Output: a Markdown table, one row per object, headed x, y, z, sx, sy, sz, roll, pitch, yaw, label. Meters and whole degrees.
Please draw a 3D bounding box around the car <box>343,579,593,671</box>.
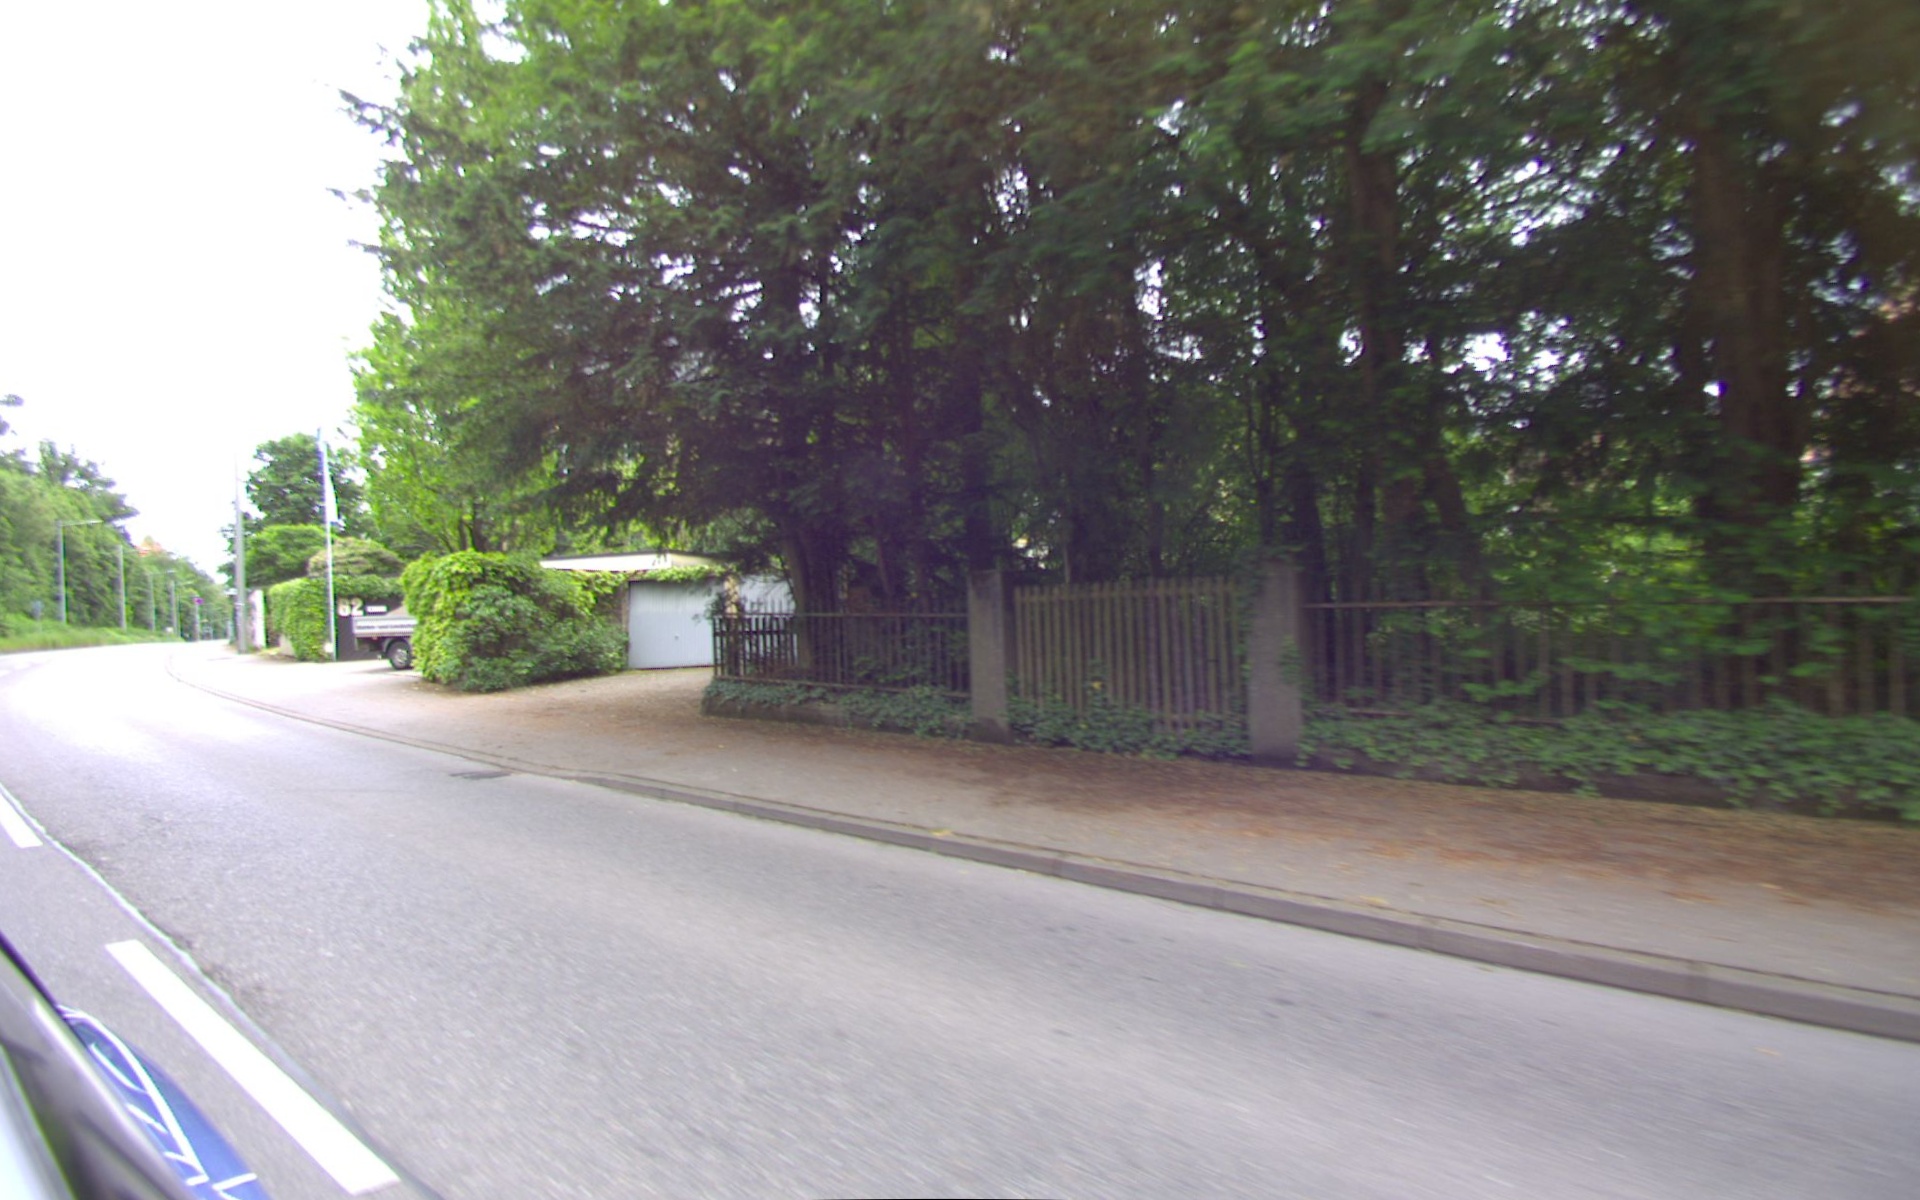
| x | y | z | sx | sy | sz | roll | pitch | yaw | label |
| --- | --- | --- | --- | --- | --- | --- | --- | --- | --- |
| -12.301 | 0.628 | 25.465 | 5.307 | 2.088 | 2.416 | -2 | 0 | 13 | car |
